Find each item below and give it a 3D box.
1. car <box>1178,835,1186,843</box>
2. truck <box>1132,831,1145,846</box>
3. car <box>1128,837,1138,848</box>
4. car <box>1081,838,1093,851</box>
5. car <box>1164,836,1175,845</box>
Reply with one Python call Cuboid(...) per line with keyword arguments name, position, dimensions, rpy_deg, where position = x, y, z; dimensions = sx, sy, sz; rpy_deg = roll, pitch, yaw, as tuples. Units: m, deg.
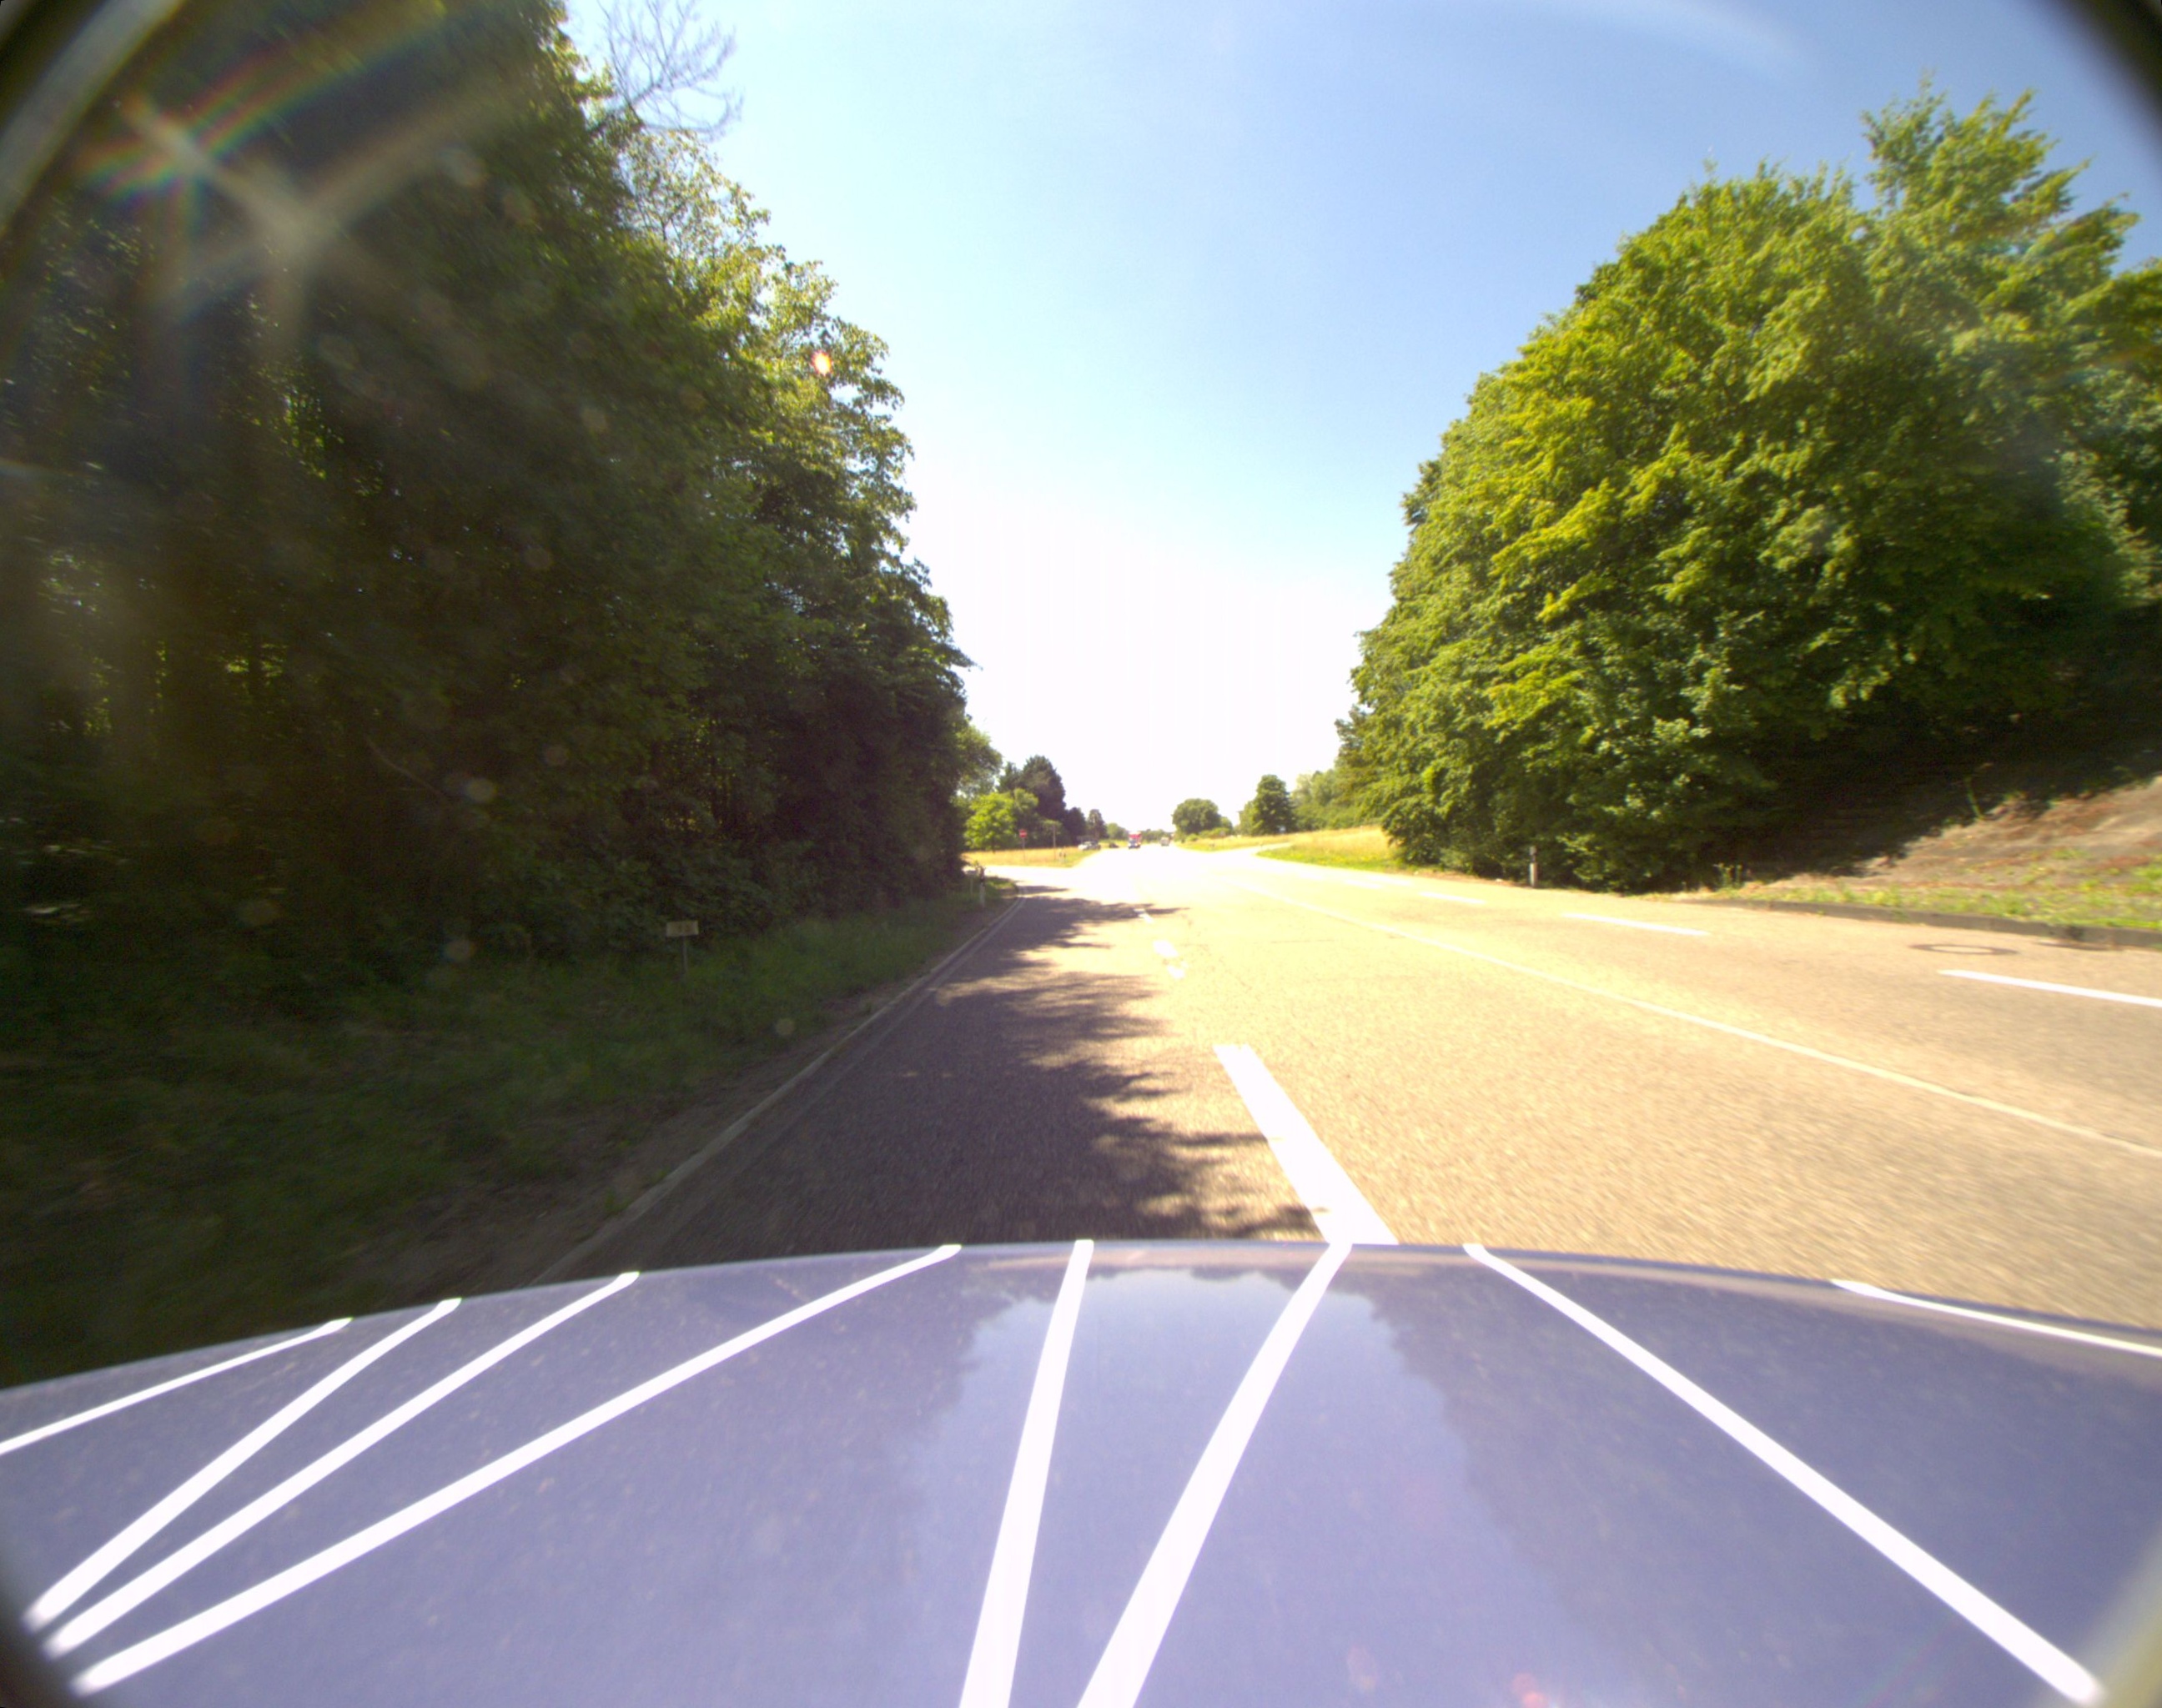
Cuboid(name="car", position=(25.786, -3.880, 194.288), dimensions=(1.844, 2.002, 4.001), rpy_deg=(-2, 1, 6))
Cuboid(name="truck", position=(11.464, -3.052, 151.411), dimensions=(2.457, 2.927, 6.975), rpy_deg=(-2, 1, 5))
Cuboid(name="car", position=(9.077, -1.973, 132.216), dimensions=(1.746, 1.833, 4.000), rpy_deg=(-2, 1, 4))
Cuboid(name="car", position=(1.019, -1.636, 130.798), dimensions=(1.998, 2.002, 3.999), rpy_deg=(-2, 1, 1))
Cuboid(name="car", position=(19.601, -2.962, 168.111), dimensions=(1.997, 1.952, 4.002), rpy_deg=(-1, 1, 10))
